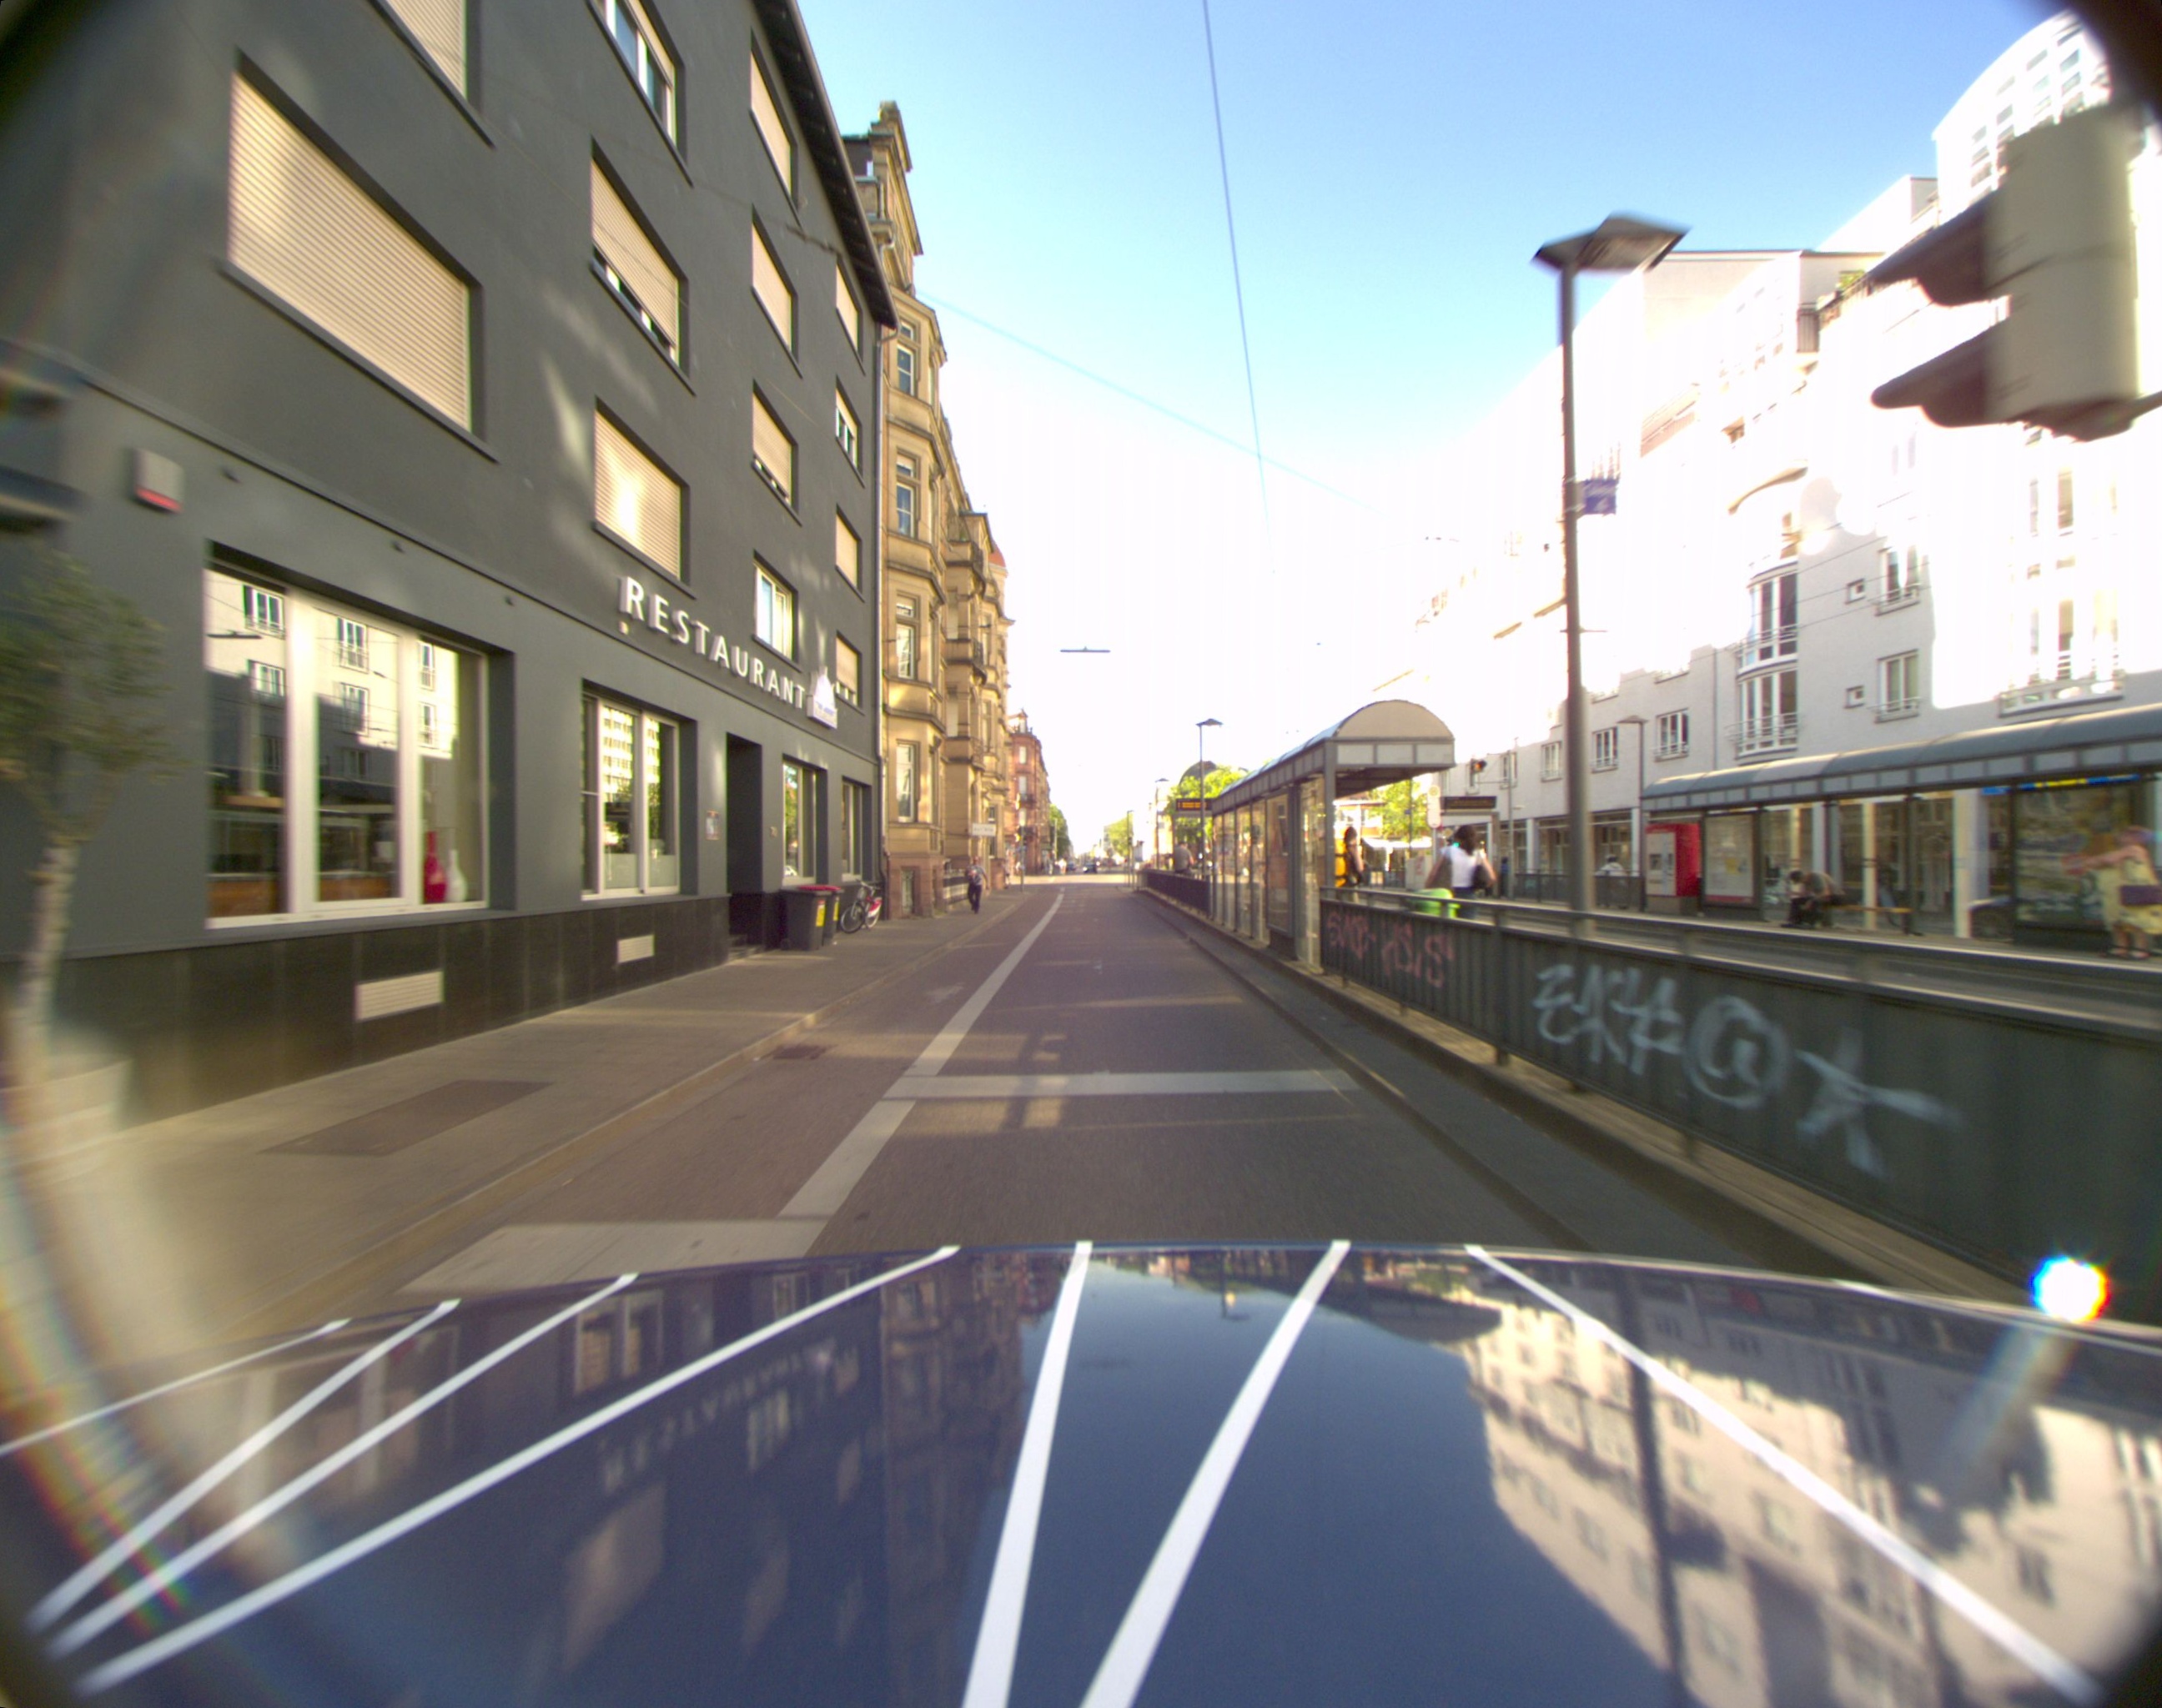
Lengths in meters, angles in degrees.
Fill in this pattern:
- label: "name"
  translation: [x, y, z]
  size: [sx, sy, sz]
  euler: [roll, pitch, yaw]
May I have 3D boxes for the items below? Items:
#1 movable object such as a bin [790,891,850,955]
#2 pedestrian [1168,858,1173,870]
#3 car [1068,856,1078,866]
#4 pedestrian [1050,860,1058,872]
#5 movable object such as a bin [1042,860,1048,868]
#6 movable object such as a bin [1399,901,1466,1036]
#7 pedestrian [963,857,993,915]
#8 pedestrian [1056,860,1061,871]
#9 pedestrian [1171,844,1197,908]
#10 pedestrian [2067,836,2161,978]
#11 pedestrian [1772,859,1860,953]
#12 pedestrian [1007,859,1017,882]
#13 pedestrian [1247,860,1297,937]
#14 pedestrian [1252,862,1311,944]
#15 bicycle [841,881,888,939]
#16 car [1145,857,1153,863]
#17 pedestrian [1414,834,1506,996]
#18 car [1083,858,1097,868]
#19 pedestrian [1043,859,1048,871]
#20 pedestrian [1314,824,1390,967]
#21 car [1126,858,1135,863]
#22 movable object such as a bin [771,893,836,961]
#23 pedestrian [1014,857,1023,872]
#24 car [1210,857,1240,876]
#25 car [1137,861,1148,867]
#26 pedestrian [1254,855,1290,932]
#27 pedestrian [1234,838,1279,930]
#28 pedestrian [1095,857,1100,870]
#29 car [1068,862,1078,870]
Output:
- label: "movable object such as a bin"
  translation: [-4.624, 1.206, 13.486]
  size: [0.750, 1.030, 0.753]
  euler: [3, 0, 1]
- label: "pedestrian"
  translation: [11.952, 1.323, 101.850]
  size: [0.501, 1.509, 0.859]
  euler: [2, 0, 0]
- label: "car"
  translation: [-1.525, 1.340, 146.121]
  size: [1.694, 1.703, 4.614]
  euler: [-2, 0, -2]
- label: "pedestrian"
  translation: [-3.456, 1.529, 97.868]
  size: [0.684, 1.598, 0.729]
  euler: [0, 1, -32]
- label: "movable object such as a bin"
  translation: [-4.766, 1.363, 100.573]
  size: [0.664, 1.066, 0.545]
  euler: [3, 1, 2]
- label: "movable object such as a bin"
  translation: [2.757, 0.884, 5.978]
  size: [0.347, 1.001, 0.404]
  euler: [0, 0, 2]
- label: "pedestrian"
  translation: [-3.145, 0.971, 23.261]
  size: [0.782, 1.739, 1.093]
  euler: [-1, -1, -2]
- label: "pedestrian"
  translation: [-3.983, 1.993, 134.192]
  size: [0.686, 1.901, 1.063]
  euler: [-2, 1, 3]
- label: "pedestrian"
  translation: [2.803, 0.573, 20.685]
  size: [0.637, 1.688, 0.933]
  euler: [-2, 1, 8]
- label: "pedestrian"
  translation: [12.137, 0.578, 8.688]
  size: [0.733, 1.549, 0.743]
  euler: [-1, 0, -1]
- label: "pedestrian"
  translation: [12.368, 0.858, 12.804]
  size: [0.733, 1.518, 0.743]
  euler: [-1, 0, -1]
- label: "pedestrian"
  translation: [-5.058, 1.203, 55.495]
  size: [0.702, 1.645, 0.631]
  euler: [0, 1, -1]
- label: "pedestrian"
  translation: [3.229, 0.740, 12.887]
  size: [0.713, 1.265, 0.657]
  euler: [0, 0, 3]
- label: "pedestrian"
  translation: [3.173, 0.756, 12.075]
  size: [0.766, 1.265, 0.719]
  euler: [0, 0, 3]
- label: "bicycle"
  translation: [-4.633, 1.170, 16.346]
  size: [0.460, 1.116, 1.773]
  euler: [1, 0, 1]
- label: "car"
  translation: [17.977, 1.586, 200.061]
  size: [1.753, 1.445, 3.471]
  euler: [-1, 0, -1]
- label: "pedestrian"
  translation: [3.746, 0.582, 7.543]
  size: [0.622, 1.549, 0.568]
  euler: [0, 1, 1]
- label: "car"
  translation: [1.257, 1.284, 108.125]
  size: [1.815, 1.415, 4.153]
  euler: [-2, 0, 0]
- label: "pedestrian"
  translation: [-4.422, 1.344, 94.545]
  size: [0.634, 1.529, 0.941]
  euler: [0, 1, -3]
- label: "pedestrian"
  translation: [3.441, 0.509, 9.676]
  size: [0.566, 1.740, 0.717]
  euler: [0, 0, -28]
- label: "car"
  translation: [13.807, 1.782, 211.746]
  size: [1.999, 1.443, 4.501]
  euler: [0, 0, -1]
- label: "movable object such as a bin"
  translation: [-4.638, 1.208, 12.725]
  size: [0.750, 1.030, 0.753]
  euler: [3, 0, 1]
- label: "pedestrian"
  translation: [-6.828, 1.188, 83.458]
  size: [0.925, 1.623, 0.941]
  euler: [0, 1, -9]
- label: "car"
  translation: [15.240, 1.270, 80.454]
  size: [2.233, 1.900, 4.608]
  euler: [-1, 0, -1]
- label: "car"
  translation: [13.375, 2.180, 165.336]
  size: [1.999, 1.443, 4.649]
  euler: [0, 0, -1]
- label: "pedestrian"
  translation: [3.948, 0.792, 15.665]
  size: [0.585, 1.552, 0.471]
  euler: [0, 0, 36]
- label: "pedestrian"
  translation: [3.473, 0.576, 15.035]
  size: [0.717, 1.767, 0.566]
  euler: [0, 0, 36]
- label: "pedestrian"
  translation: [2.147, 1.253, 99.377]
  size: [0.559, 1.753, 0.895]
  euler: [2, 0, 0]
- label: "car"
  translation: [-1.387, 2.110, 134.711]
  size: [1.694, 1.442, 4.359]
  euler: [-2, 0, 0]
